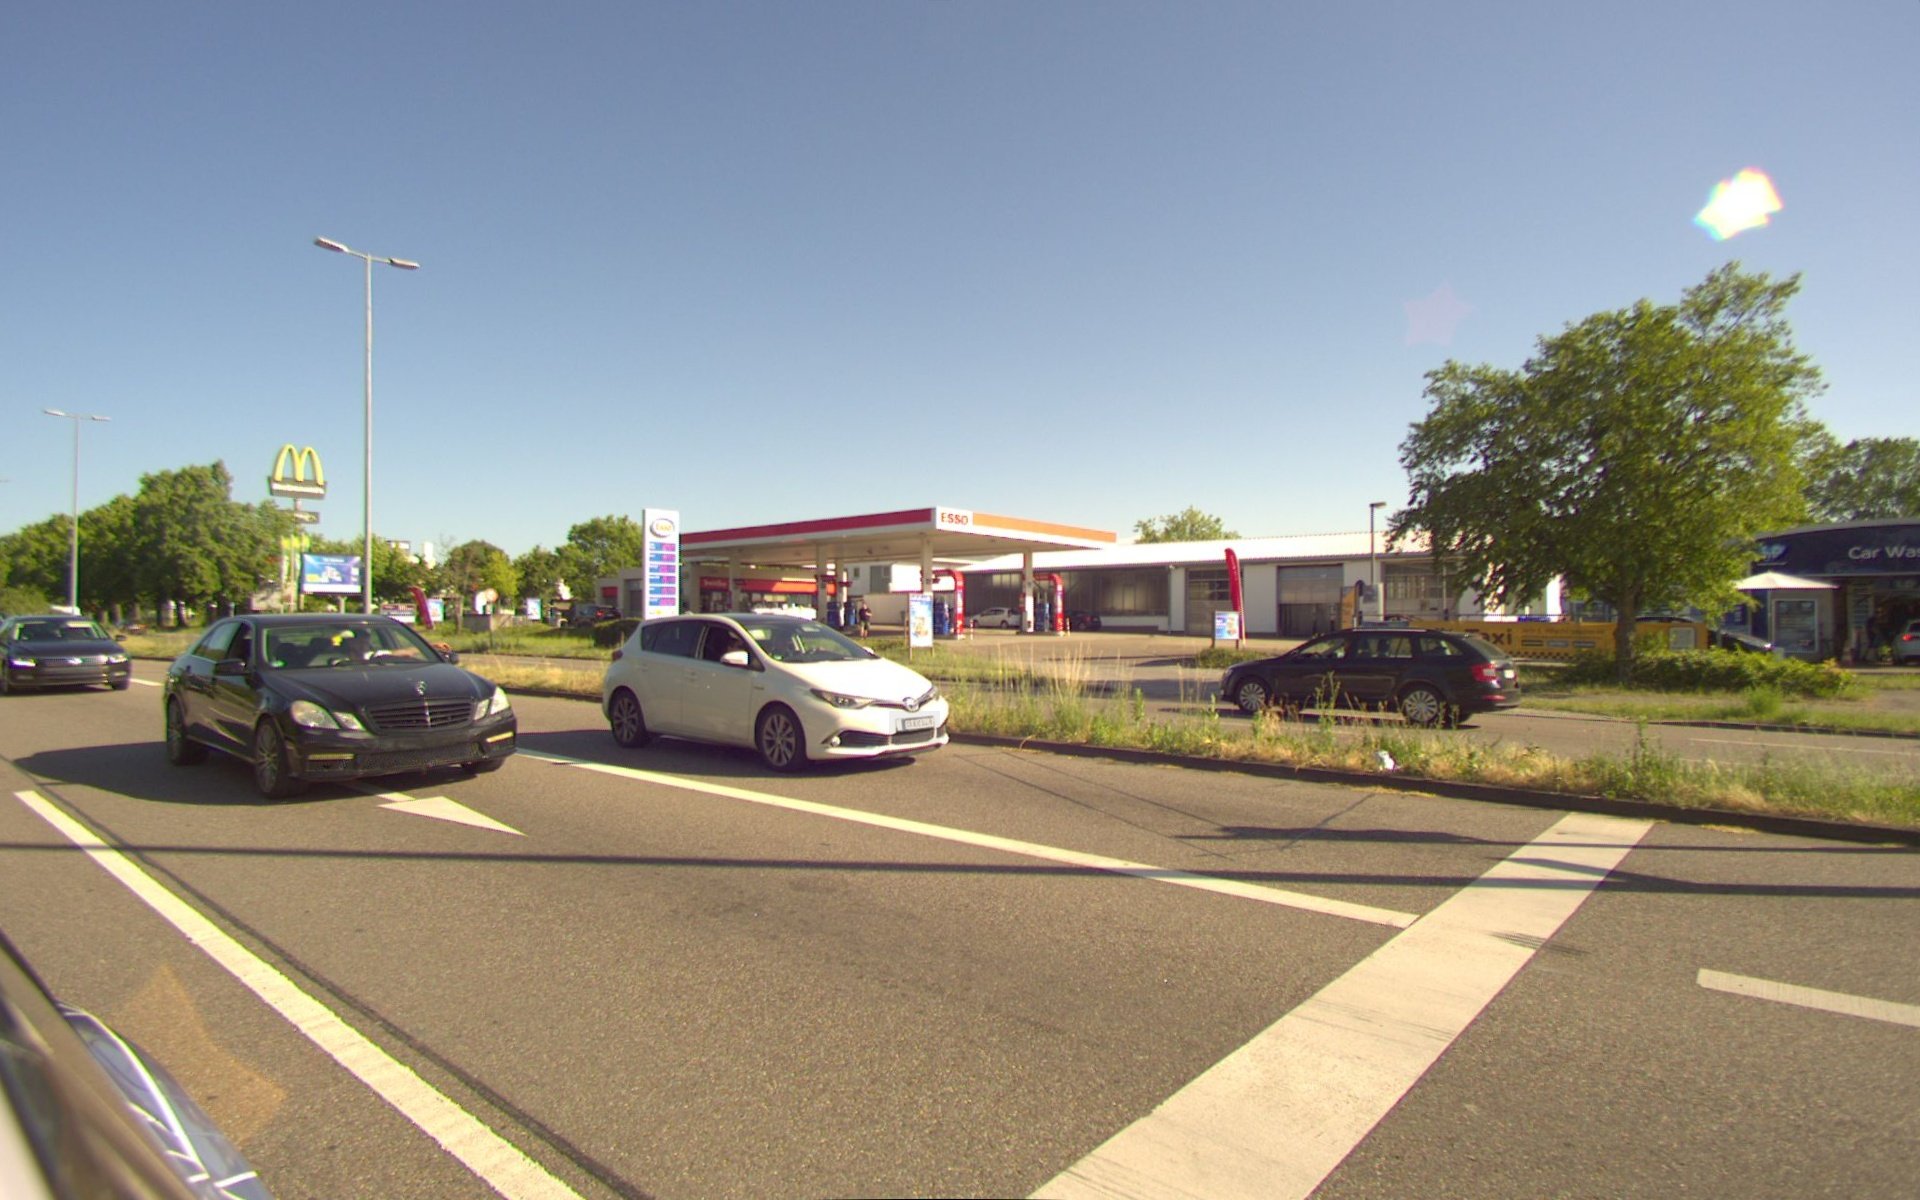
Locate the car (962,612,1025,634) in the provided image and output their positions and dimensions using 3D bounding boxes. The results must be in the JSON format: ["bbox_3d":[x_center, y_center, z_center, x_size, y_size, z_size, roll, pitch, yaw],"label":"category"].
[{"bbox_3d":[2.300,1.605,70.157,4.115,1.451,1.750,-1,-2,39],"label":"car"}]

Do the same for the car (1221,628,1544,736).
[{"bbox_3d":[6.597,1.209,16.124,4.456,1.443,1.677,-1,-3,41],"label":"car"}]

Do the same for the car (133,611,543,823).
[{"bbox_3d":[-6.032,0.870,9.525,4.916,1.494,1.938,-1,-1,41],"label":"car"}]

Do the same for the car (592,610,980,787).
[{"bbox_3d":[-1.924,0.867,10.448,4.114,1.466,1.767,-1,-2,41],"label":"car"}]

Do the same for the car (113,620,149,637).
[{"bbox_3d":[-72.030,2.445,87.892,4.456,1.443,1.677,-1,-3,41],"label":"car"}]

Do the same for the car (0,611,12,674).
[{"bbox_3d":[-28.047,1.177,28.156,4.693,1.696,1.973,-1,0,41],"label":"car"}]

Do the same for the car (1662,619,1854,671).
[{"bbox_3d":[22.348,1.244,28.483,4.115,1.335,1.876,-1,-3,39],"label":"car"}]

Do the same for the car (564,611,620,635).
[{"bbox_3d":[-25.409,1.585,69.788,4.115,1.625,1.740,-1,-3,39],"label":"car"}]

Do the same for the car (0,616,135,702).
[{"bbox_3d":[-17.680,1.066,19.713,4.263,1.464,1.825,-1,-1,41],"label":"car"}]

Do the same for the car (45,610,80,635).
[{"bbox_3d":[-79.175,1.998,89.230,4.456,2.092,1.677,-1,-3,41],"label":"car"}]

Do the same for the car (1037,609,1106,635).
[{"bbox_3d":[7.245,1.432,66.095,4.116,1.603,1.876,-1,-3,40],"label":"car"}]

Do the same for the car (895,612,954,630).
[{"bbox_3d":[-2.625,1.555,74.804,4.115,1.236,1.876,-1,-3,39],"label":"car"}]

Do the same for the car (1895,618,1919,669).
[{"bbox_3d":[28.738,1.301,29.565,1.900,1.443,4.064,-1,-3,40],"label":"car"}]
